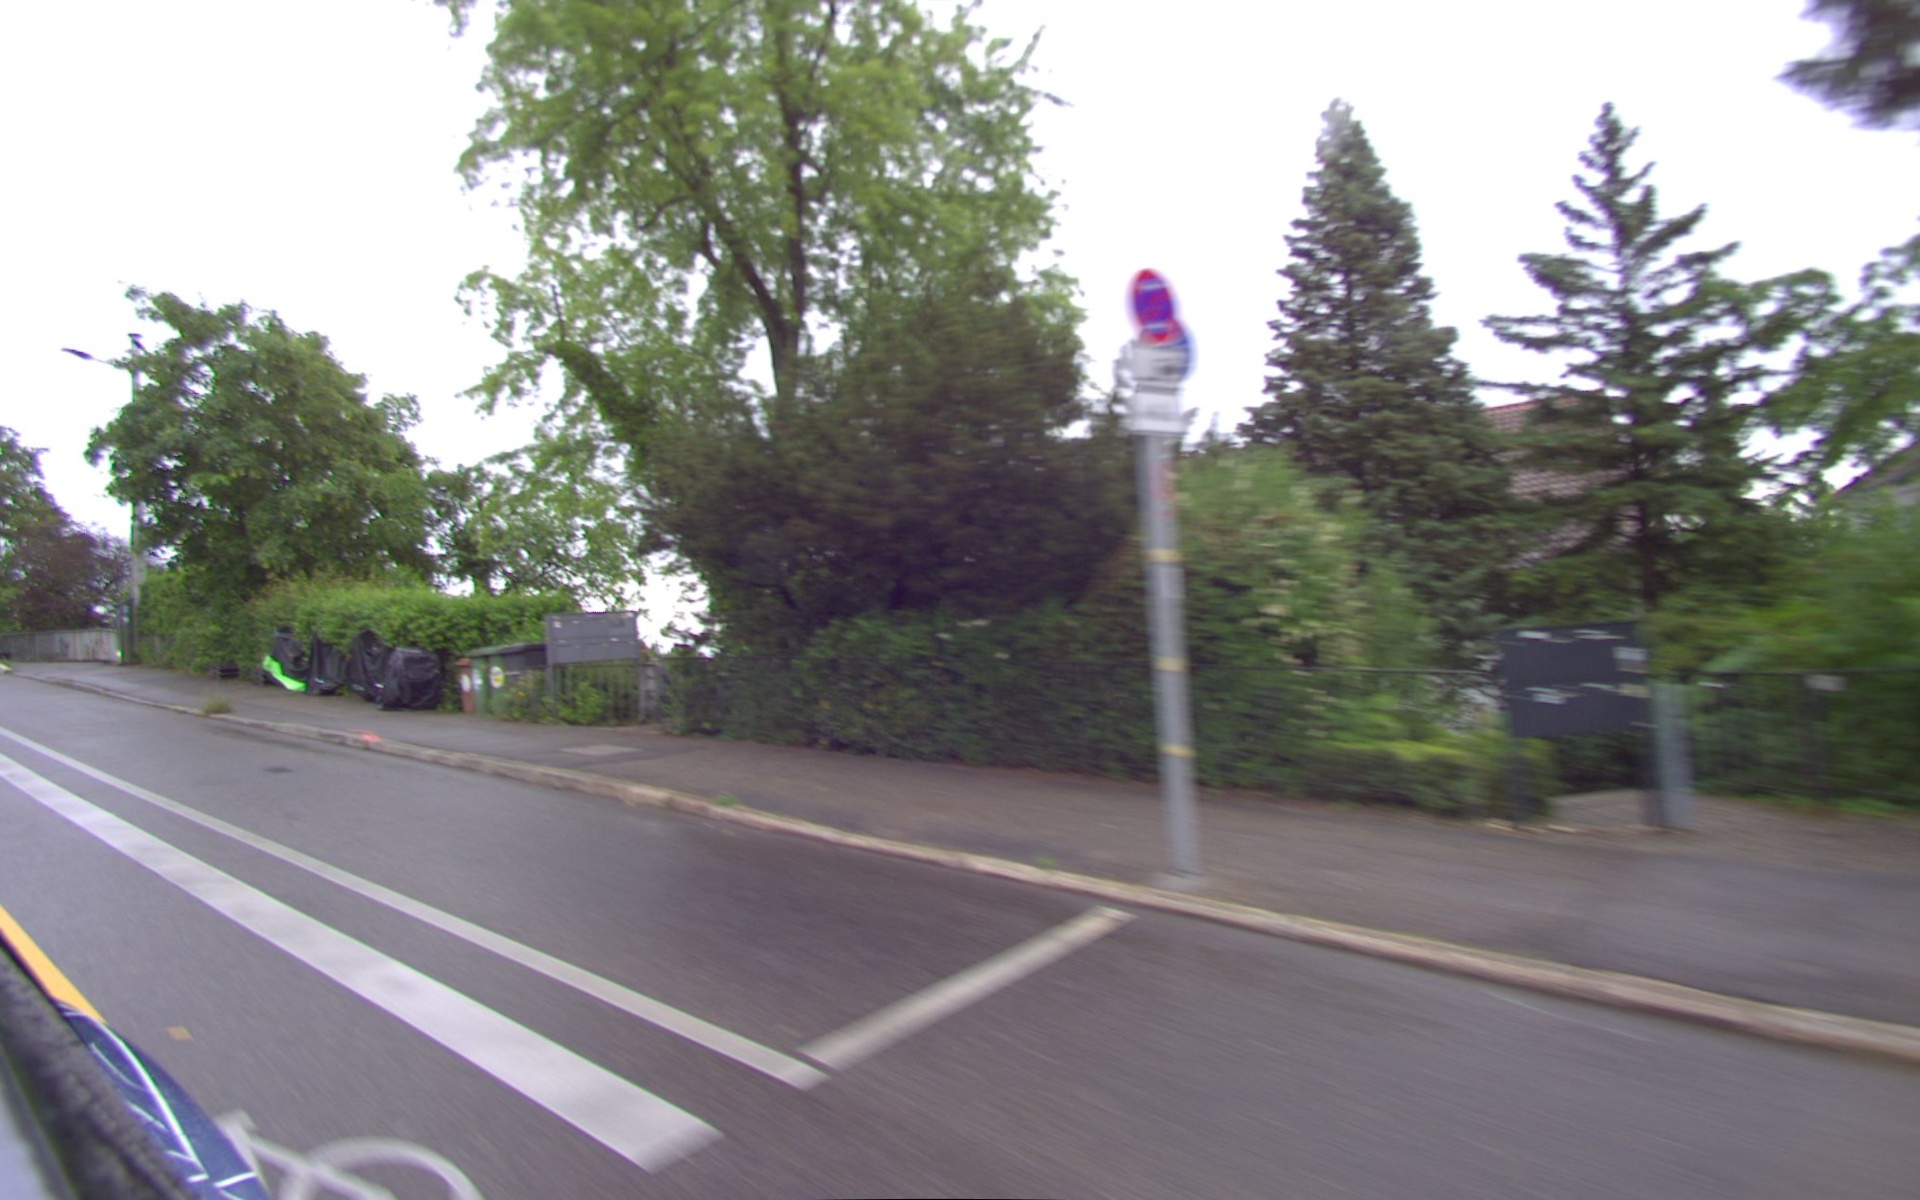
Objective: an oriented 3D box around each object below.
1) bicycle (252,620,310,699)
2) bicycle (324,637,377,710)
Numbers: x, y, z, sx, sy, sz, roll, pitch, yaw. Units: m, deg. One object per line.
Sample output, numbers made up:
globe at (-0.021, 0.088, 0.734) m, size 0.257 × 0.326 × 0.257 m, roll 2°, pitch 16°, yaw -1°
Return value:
bicycle at (-12.426, 1.059, 18.506) m, size 1.741 × 1.359 × 0.416 m, roll -1°, pitch 0°, yaw 40°
bicycle at (-9.887, 1.166, 16.403) m, size 1.255 × 1.116 × 0.334 m, roll -1°, pitch 0°, yaw 40°
